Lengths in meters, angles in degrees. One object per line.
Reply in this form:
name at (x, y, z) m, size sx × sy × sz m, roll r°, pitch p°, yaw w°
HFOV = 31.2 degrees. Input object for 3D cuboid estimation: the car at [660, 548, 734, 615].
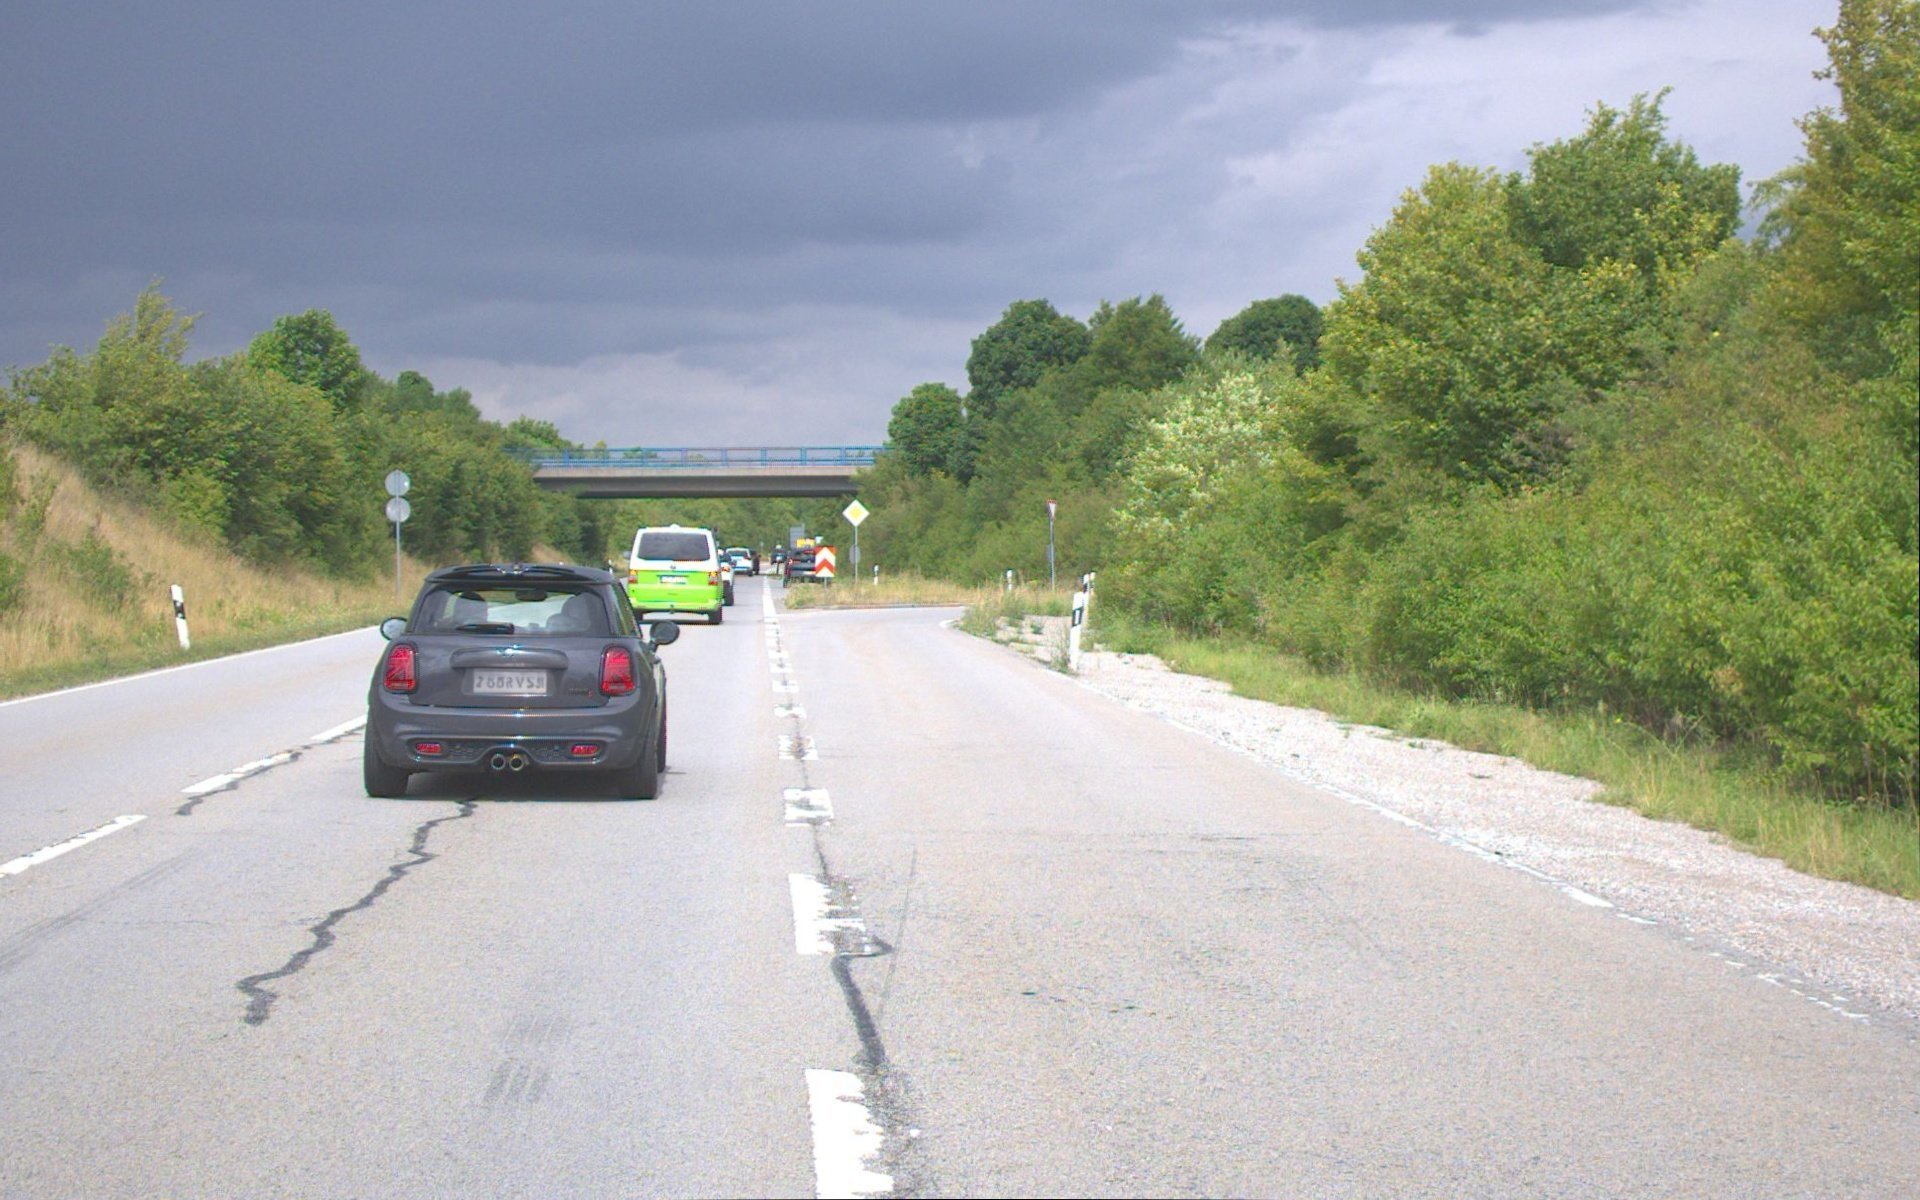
car at (-7.163, -0.526, 93.856) m, size 1.818 × 1.744 × 4.000 m, roll 1°, pitch 1°, yaw -2°

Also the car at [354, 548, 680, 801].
car at (-2.726, 0.403, 21.898) m, size 1.756 × 1.422 × 4.001 m, roll 1°, pitch 1°, yaw -3°

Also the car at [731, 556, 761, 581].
car at (-12.492, -1.827, 201.024) m, size 1.667 × 1.398 × 4.001 m, roll 1°, pitch 1°, yaw -3°

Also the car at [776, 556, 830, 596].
car at (-6.450, -1.010, 140.615) m, size 1.993 × 1.546 × 4.001 m, roll 1°, pitch 1°, yaw -5°

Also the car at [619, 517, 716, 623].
car at (-5.914, -0.622, 69.868) m, size 1.819 × 2.047 × 4.001 m, roll 1°, pitch 1°, yaw -3°

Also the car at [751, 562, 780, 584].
car at (-12.573, -1.741, 222.273) m, size 1.667 × 1.398 × 4.000 m, roll 1°, pitch 1°, yaw -1°
